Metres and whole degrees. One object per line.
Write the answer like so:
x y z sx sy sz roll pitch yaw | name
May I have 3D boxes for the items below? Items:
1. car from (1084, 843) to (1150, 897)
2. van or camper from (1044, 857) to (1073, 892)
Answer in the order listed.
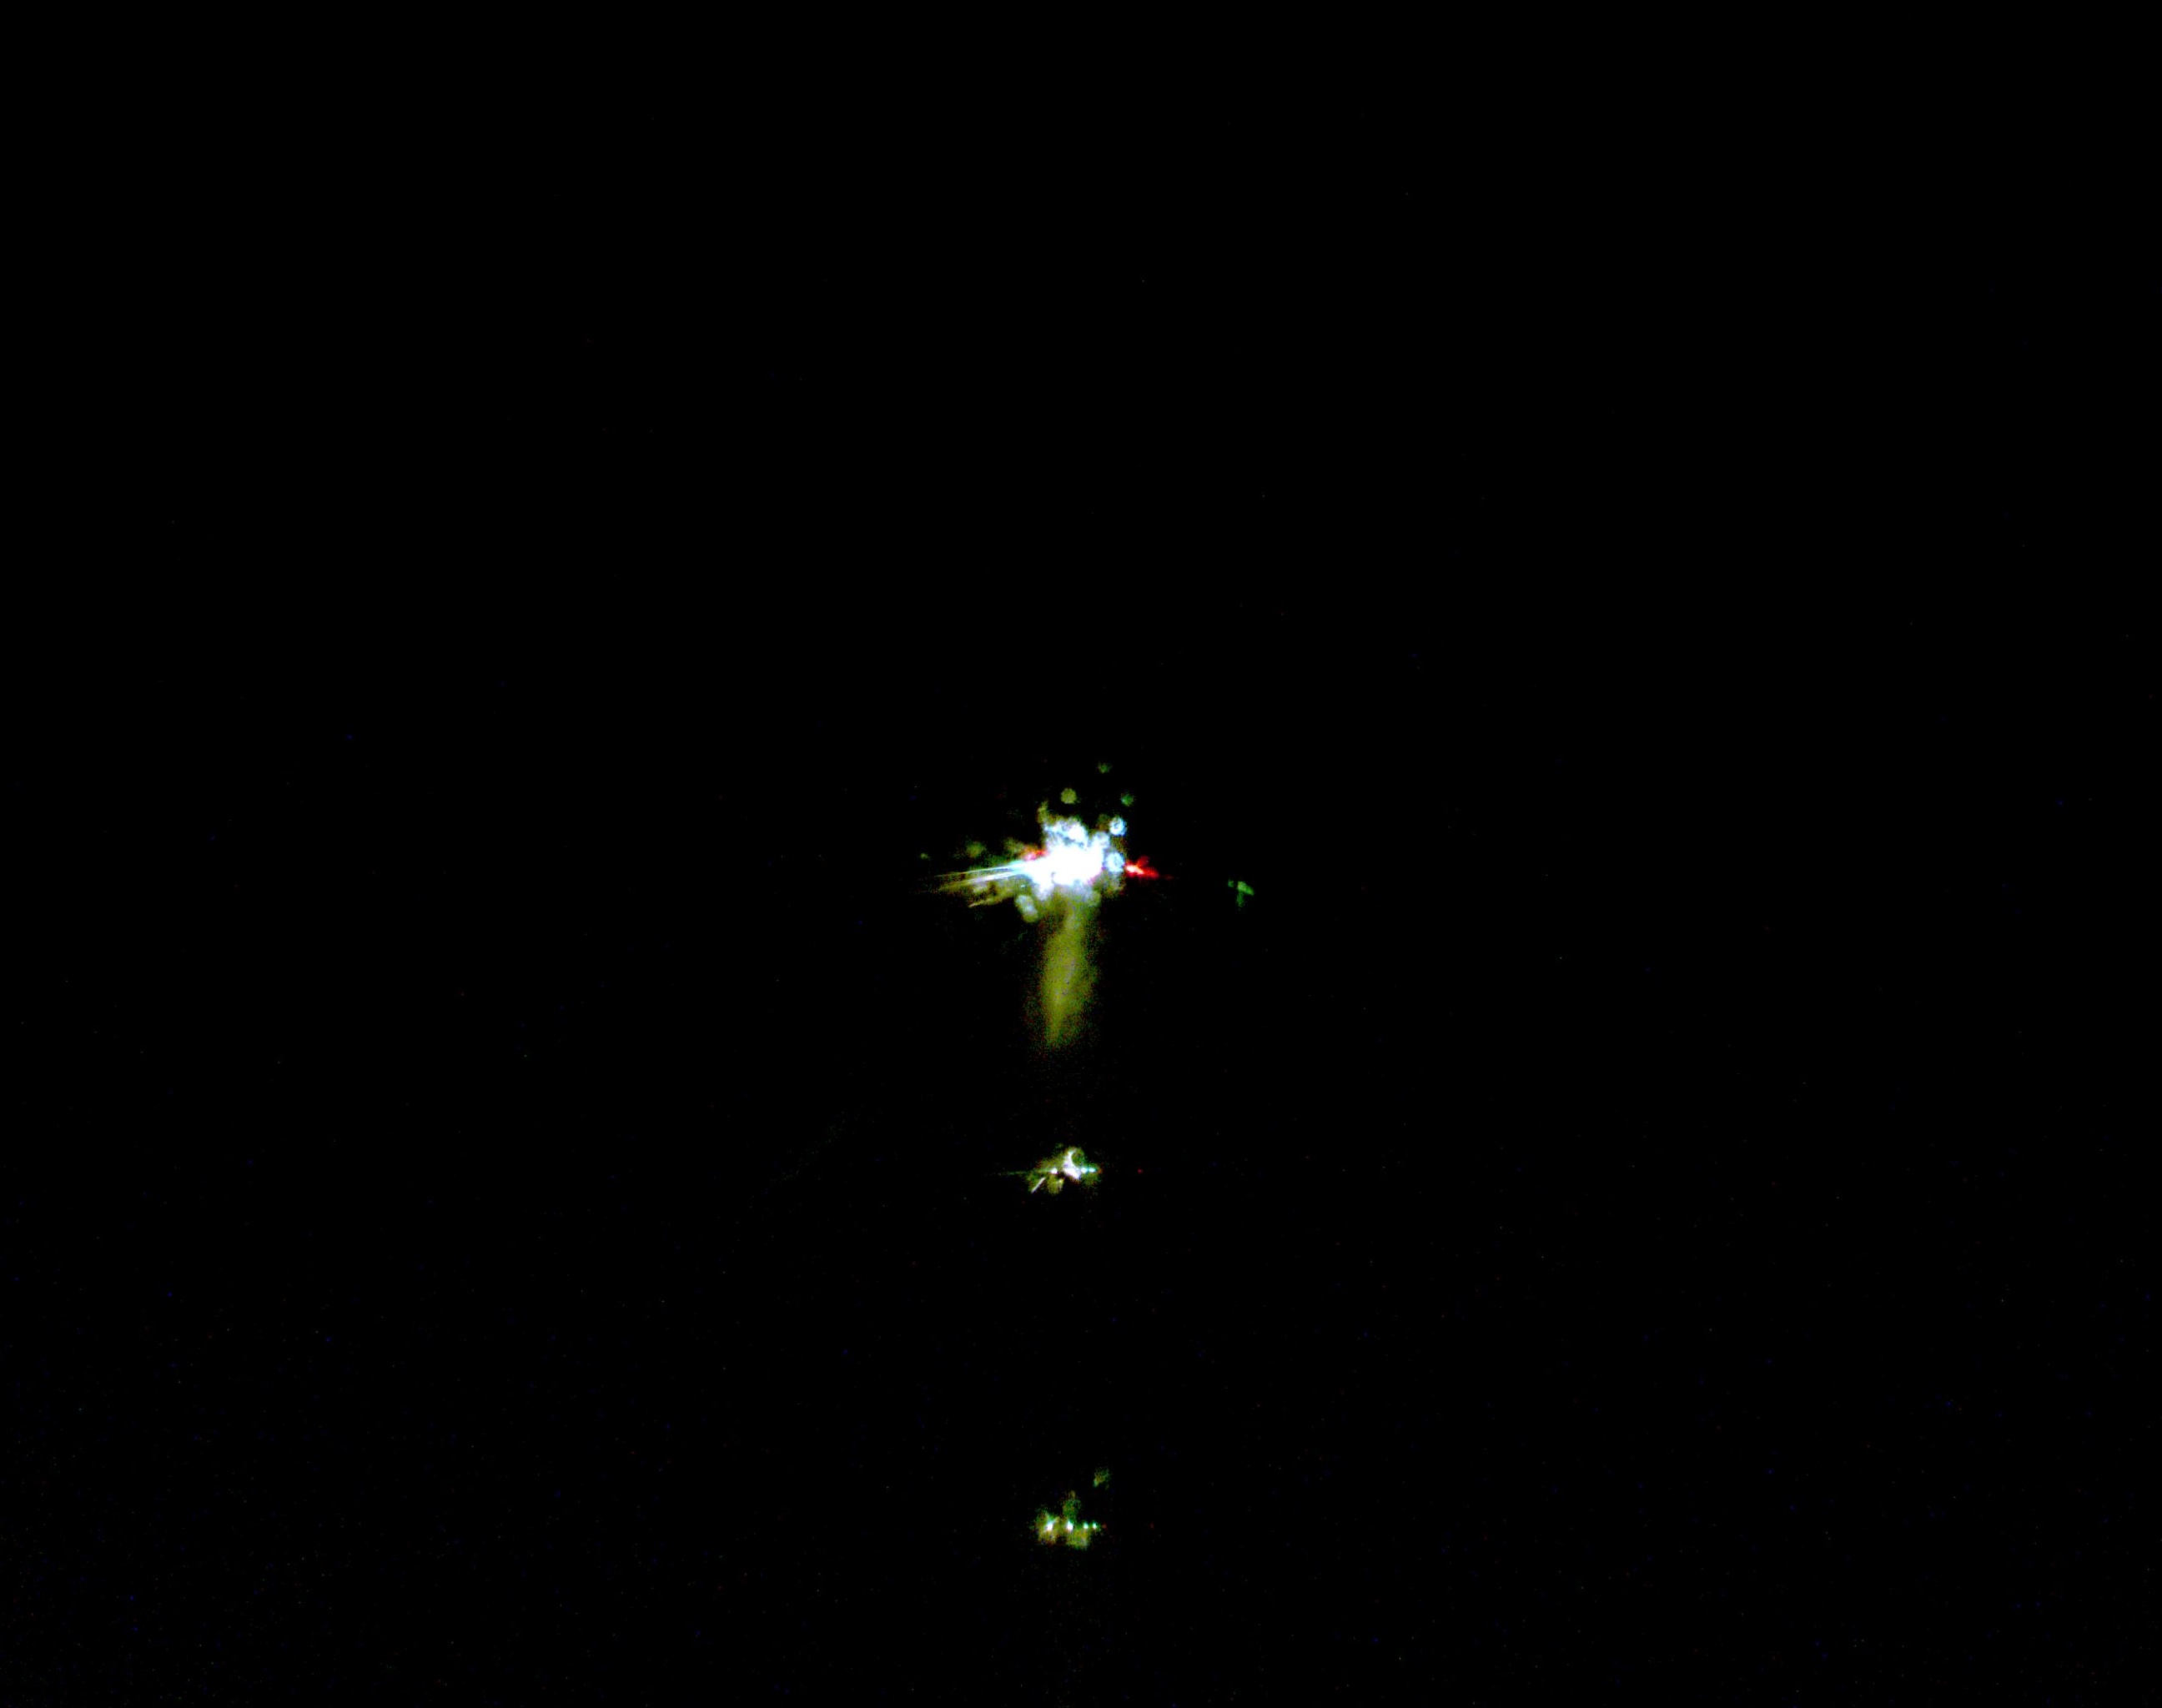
1.456 0.636 33.080 2.448 1.958 4.914 -2 -1 2 | car
-1.806 1.660 67.826 2.117 2.565 5.782 -4 0 -1 | van or camper
